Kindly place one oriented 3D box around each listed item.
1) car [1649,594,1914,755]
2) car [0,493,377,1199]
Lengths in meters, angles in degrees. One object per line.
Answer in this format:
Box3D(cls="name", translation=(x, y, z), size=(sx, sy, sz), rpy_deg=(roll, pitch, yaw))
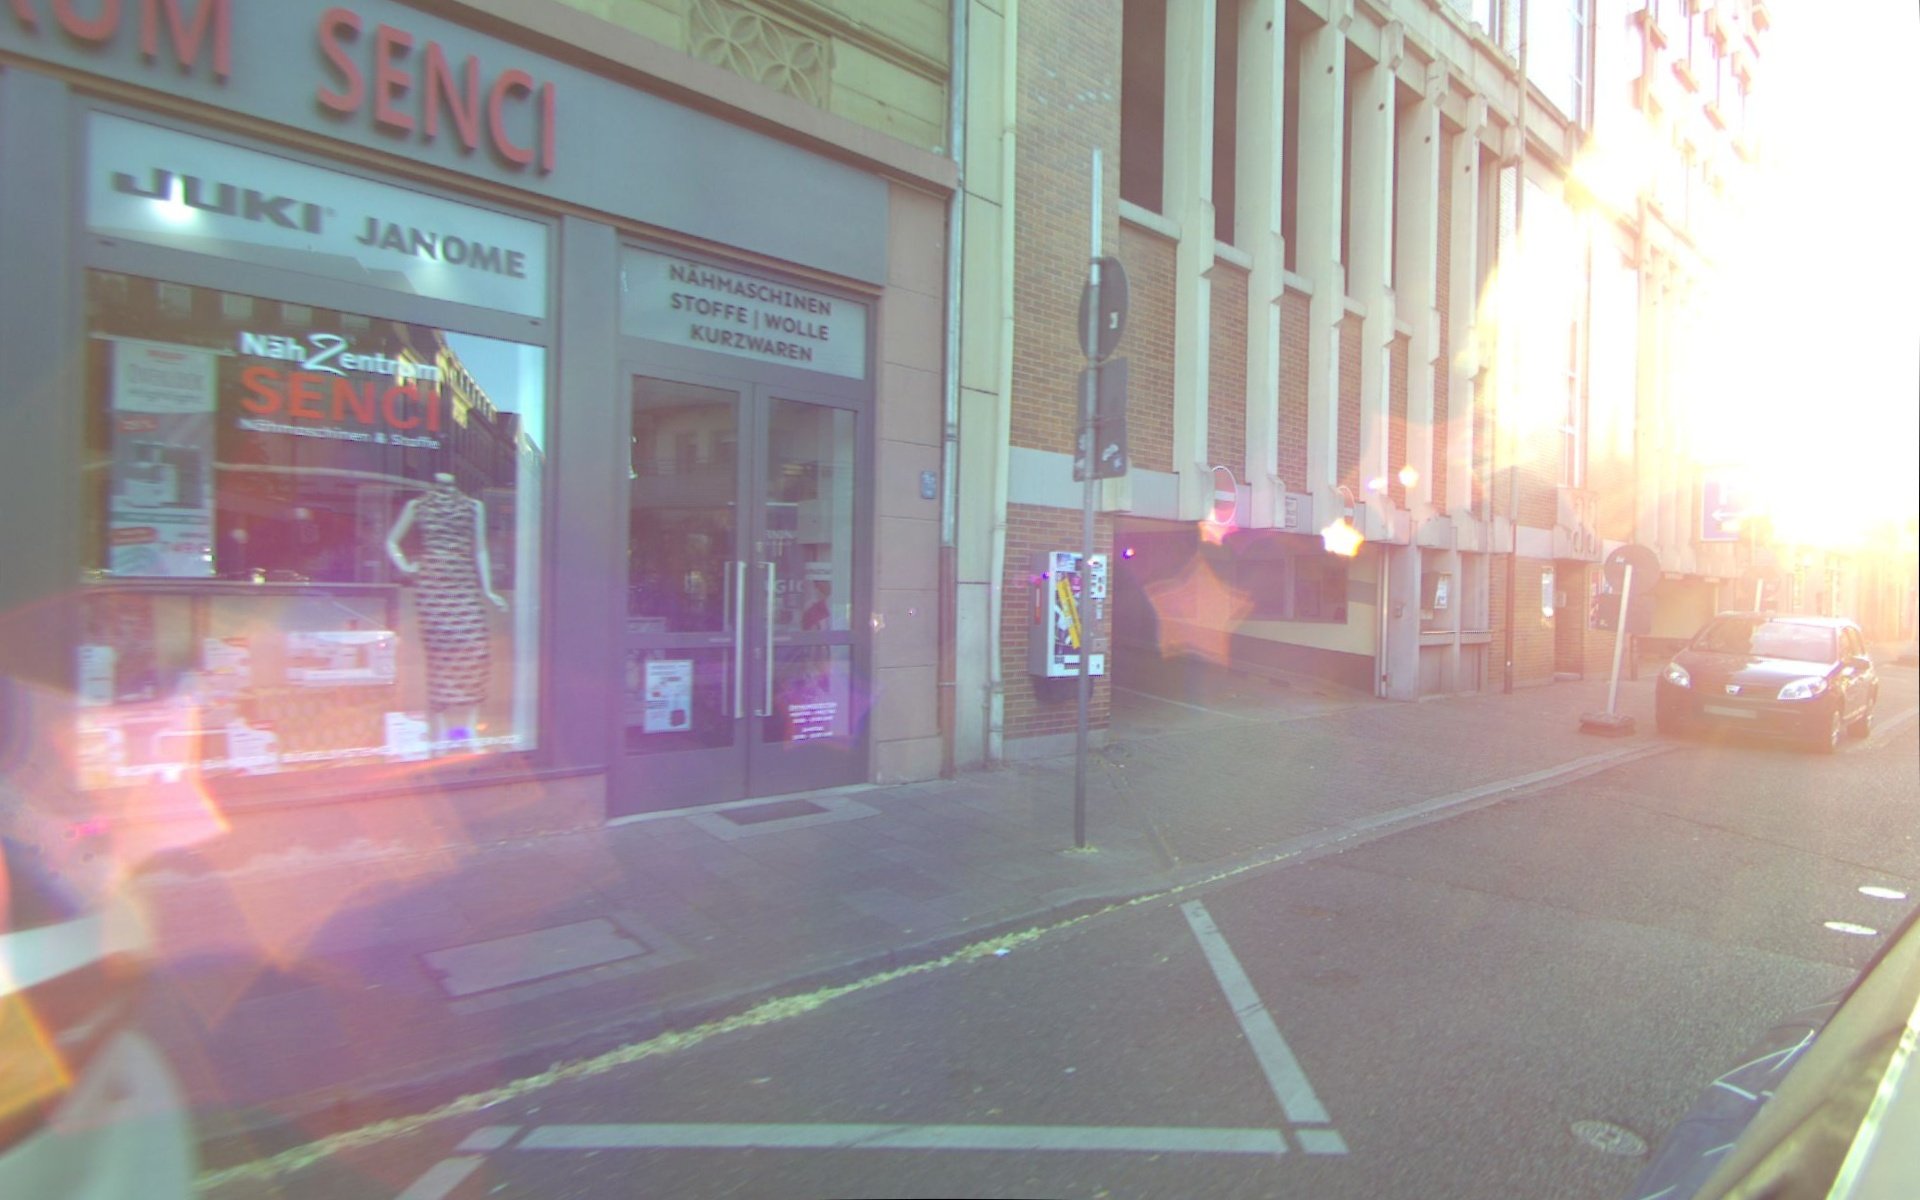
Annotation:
Box3D(cls="car", translation=(10.215, 0.789, 12.497), size=(3.929, 1.555, 1.763), rpy_deg=(1, 4, -40))
Box3D(cls="car", translation=(-3.068, 0.687, 0.328), size=(4.741, 1.556, 1.760), rpy_deg=(0, -1, -43))
